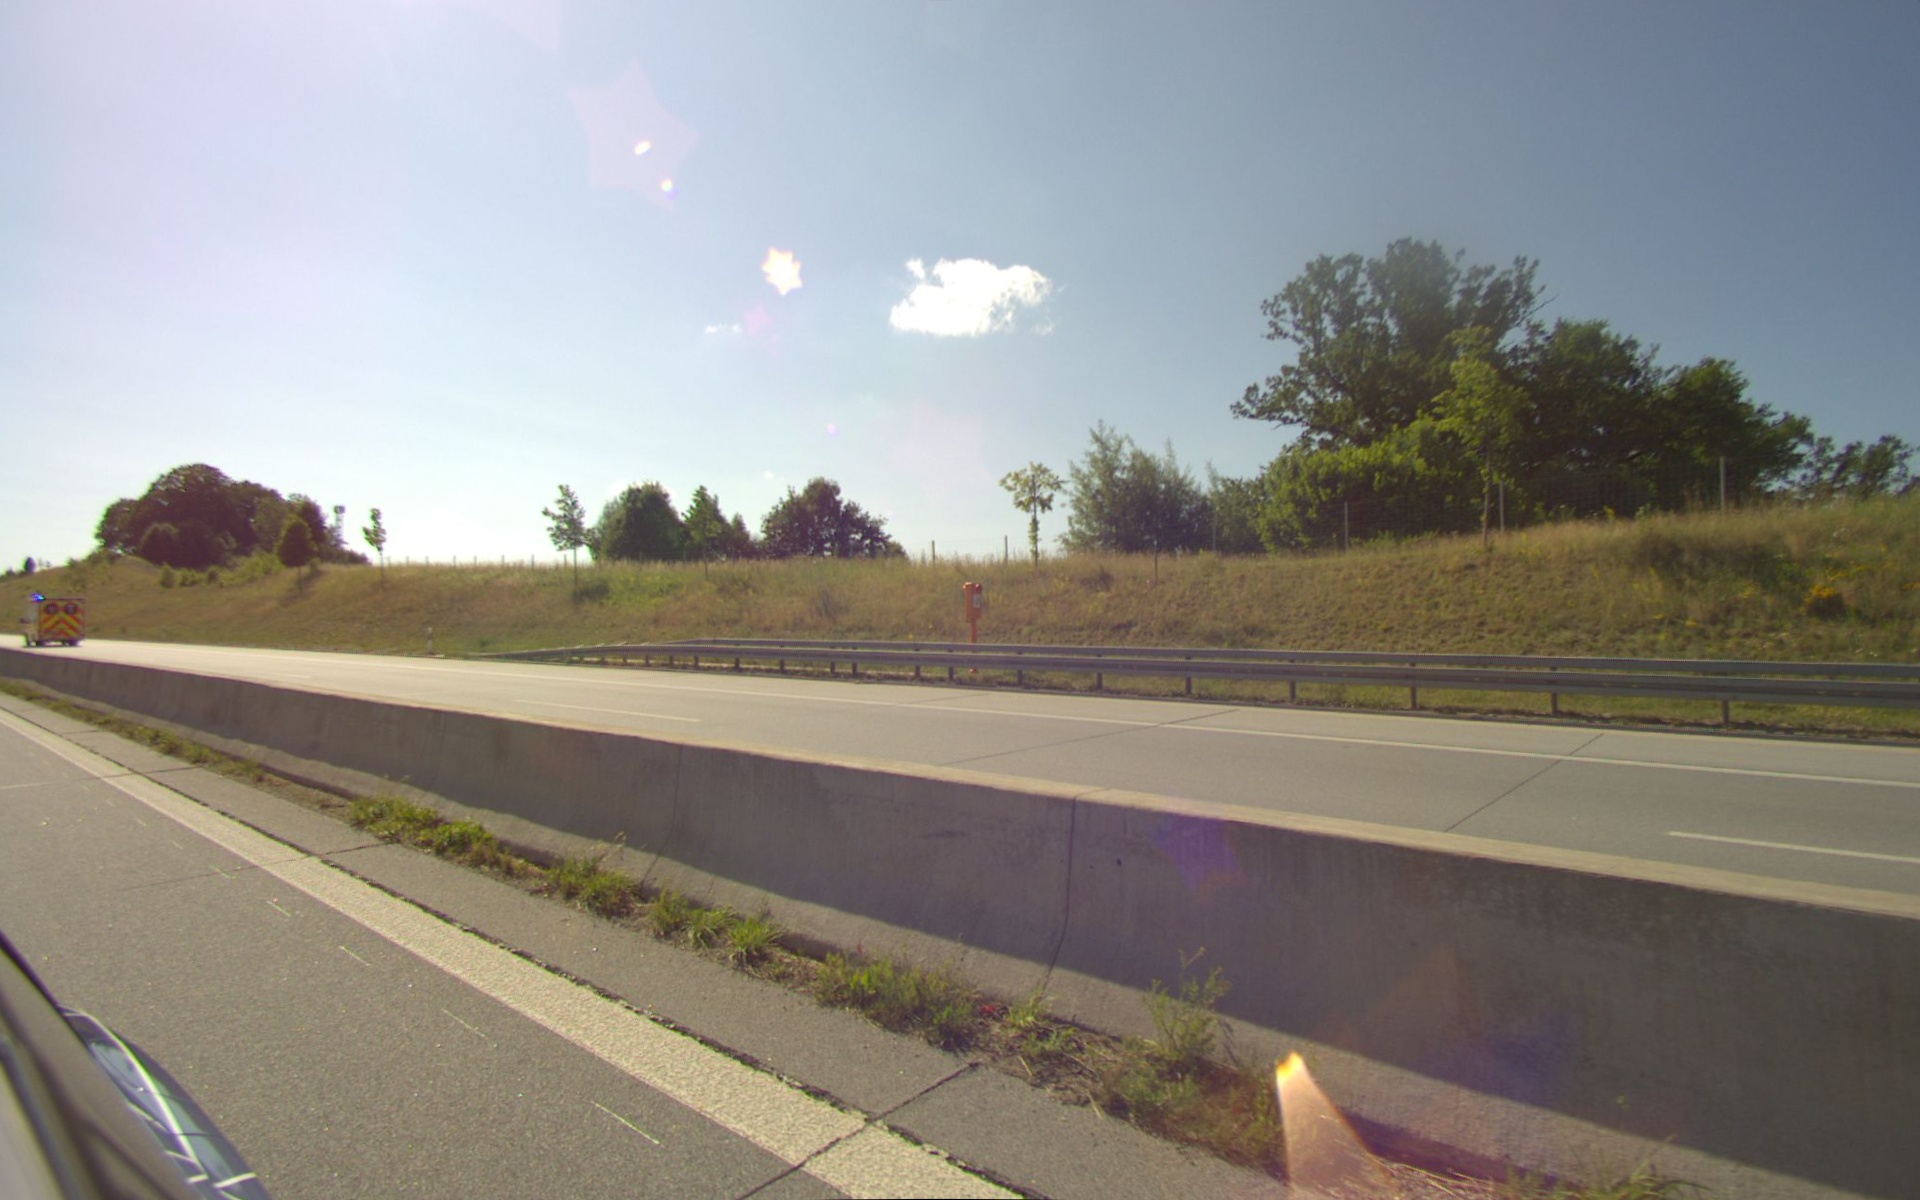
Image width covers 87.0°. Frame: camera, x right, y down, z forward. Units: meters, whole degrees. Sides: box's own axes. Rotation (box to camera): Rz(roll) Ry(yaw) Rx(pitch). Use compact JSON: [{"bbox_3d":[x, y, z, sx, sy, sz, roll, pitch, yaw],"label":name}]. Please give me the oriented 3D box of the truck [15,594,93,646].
[{"bbox_3d":[-55.619,1.210,62.078,6.788,3.044,2.745,-1,-1,41],"label":"truck"}]
